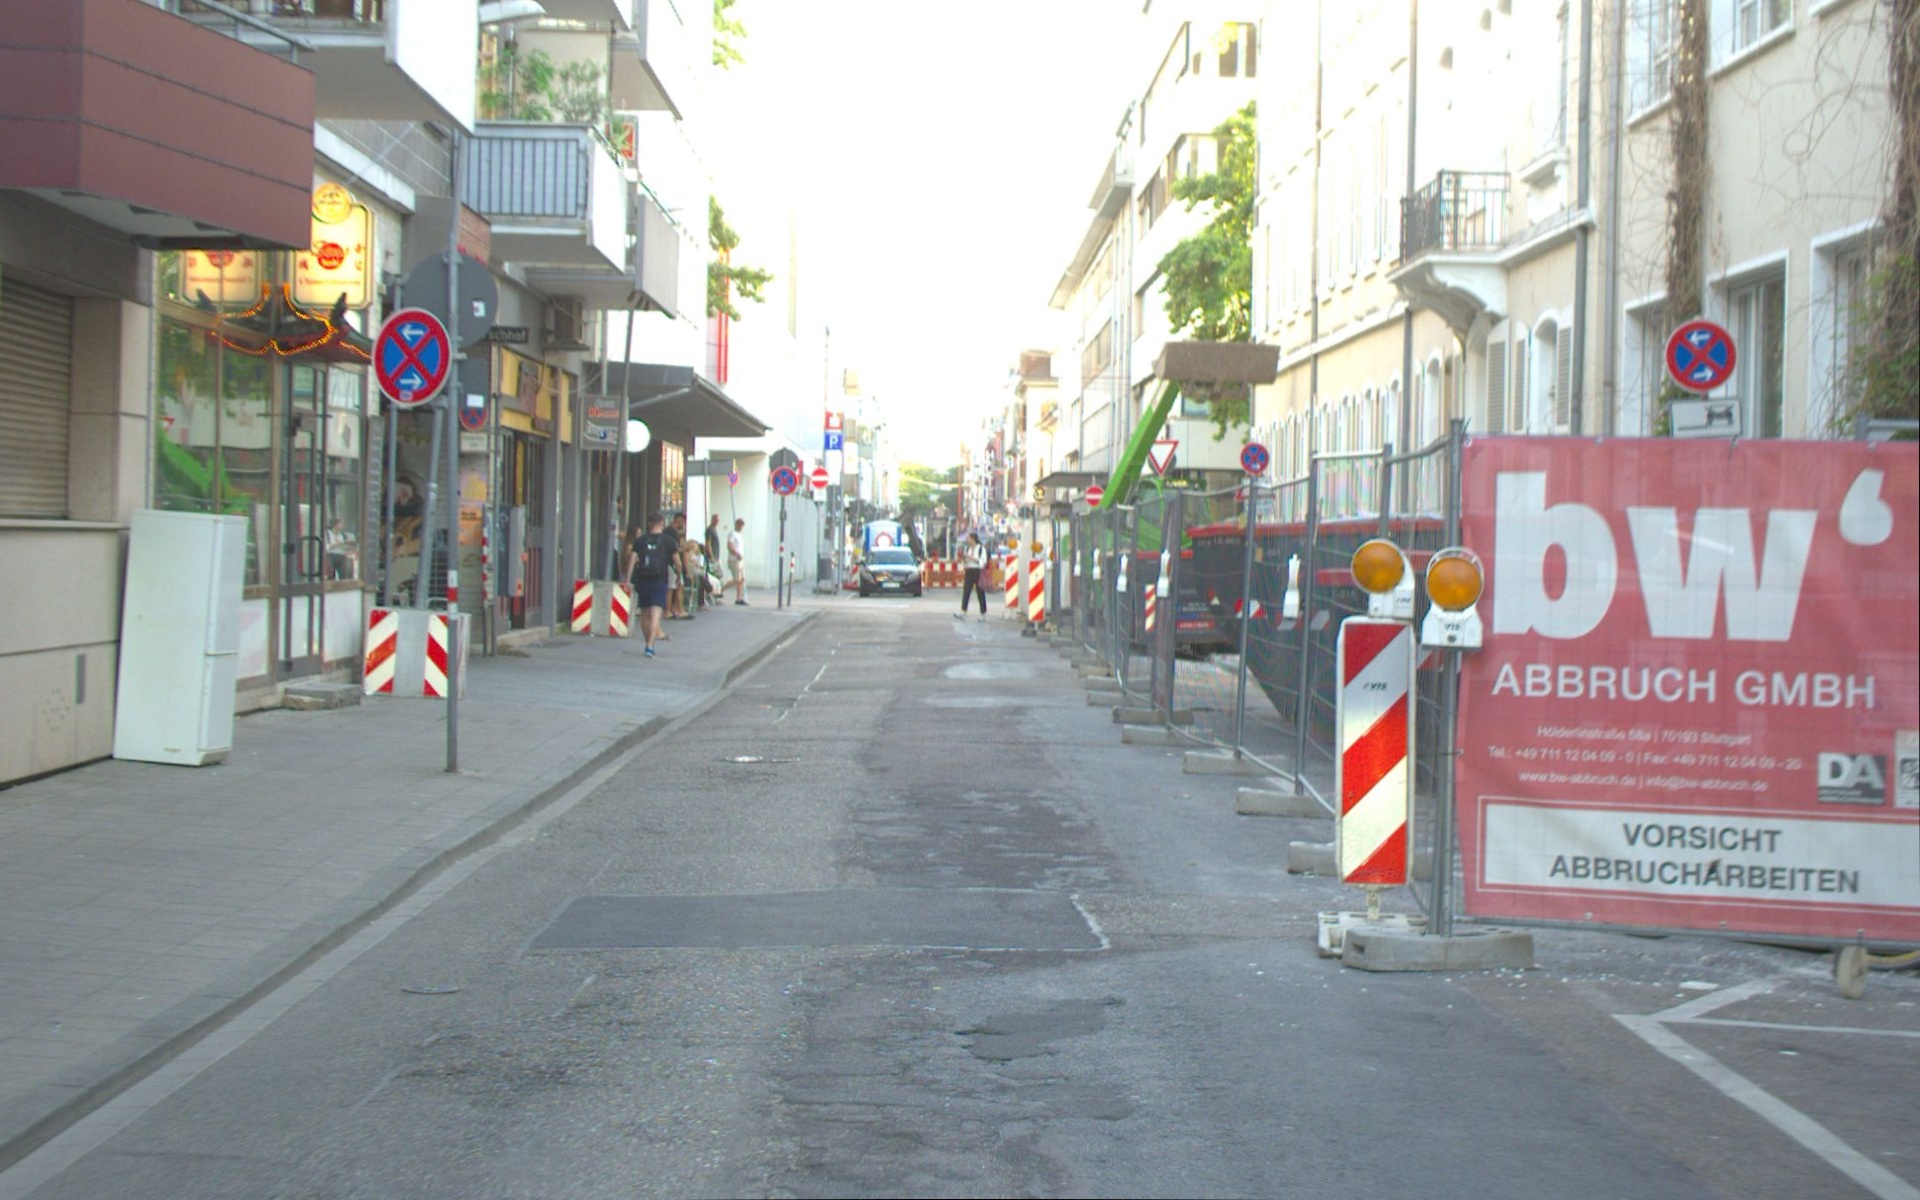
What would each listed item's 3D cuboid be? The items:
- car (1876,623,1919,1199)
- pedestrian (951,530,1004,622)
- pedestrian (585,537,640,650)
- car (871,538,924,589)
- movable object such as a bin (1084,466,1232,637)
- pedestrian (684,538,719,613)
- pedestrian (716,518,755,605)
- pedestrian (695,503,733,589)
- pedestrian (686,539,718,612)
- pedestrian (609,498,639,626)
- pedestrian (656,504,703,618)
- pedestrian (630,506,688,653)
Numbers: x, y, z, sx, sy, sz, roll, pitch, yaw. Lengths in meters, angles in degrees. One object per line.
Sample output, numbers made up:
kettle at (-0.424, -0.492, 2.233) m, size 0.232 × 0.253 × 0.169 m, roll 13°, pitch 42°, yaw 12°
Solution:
car at (2.865, 0.828, 5.205) m, size 1.693 × 1.401 × 4.479 m, roll 2°, pitch 1°, yaw 0°
pedestrian at (0.334, -0.464, 65.647) m, size 0.645 × 1.734 × 0.722 m, roll 1°, pitch 1°, yaw -43°
pedestrian at (-4.838, -0.094, 47.825) m, size 0.645 × 1.559 × 0.631 m, roll 1°, pitch 1°, yaw -15°
car at (-1.769, -1.051, 97.975) m, size 1.474 × 1.393 × 3.332 m, roll 1°, pitch 1°, yaw -1°
movable object such as a bin at (3.785, -0.991, 66.636) m, size 2.470 × 3.120 × 4.298 m, roll 2°, pitch 2°, yaw 0°
pedestrian at (-4.847, -0.463, 64.425) m, size 0.558 × 1.386 × 0.893 m, roll 2°, pitch 1°, yaw 0°
pedestrian at (-4.704, -0.805, 72.009) m, size 0.645 × 1.803 × 0.631 m, roll 1°, pitch 1°, yaw -17°
pedestrian at (-5.210, -1.149, 72.874) m, size 0.645 × 1.803 × 0.631 m, roll 1°, pitch 1°, yaw -17°
pedestrian at (-4.921, -0.469, 65.570) m, size 0.542 × 1.383 × 0.625 m, roll 1°, pitch 1°, yaw 0°
pedestrian at (-5.292, -0.602, 54.150) m, size 0.410 × 2.007 × 0.454 m, roll 1°, pitch 1°, yaw -3°
pedestrian at (-4.684, -0.655, 57.401) m, size 0.572 × 1.880 × 0.656 m, roll 1°, pitch 1°, yaw -24°
pedestrian at (-3.747, -0.260, 42.838) m, size 0.629 × 1.802 × 0.647 m, roll 1°, pitch 1°, yaw 1°
